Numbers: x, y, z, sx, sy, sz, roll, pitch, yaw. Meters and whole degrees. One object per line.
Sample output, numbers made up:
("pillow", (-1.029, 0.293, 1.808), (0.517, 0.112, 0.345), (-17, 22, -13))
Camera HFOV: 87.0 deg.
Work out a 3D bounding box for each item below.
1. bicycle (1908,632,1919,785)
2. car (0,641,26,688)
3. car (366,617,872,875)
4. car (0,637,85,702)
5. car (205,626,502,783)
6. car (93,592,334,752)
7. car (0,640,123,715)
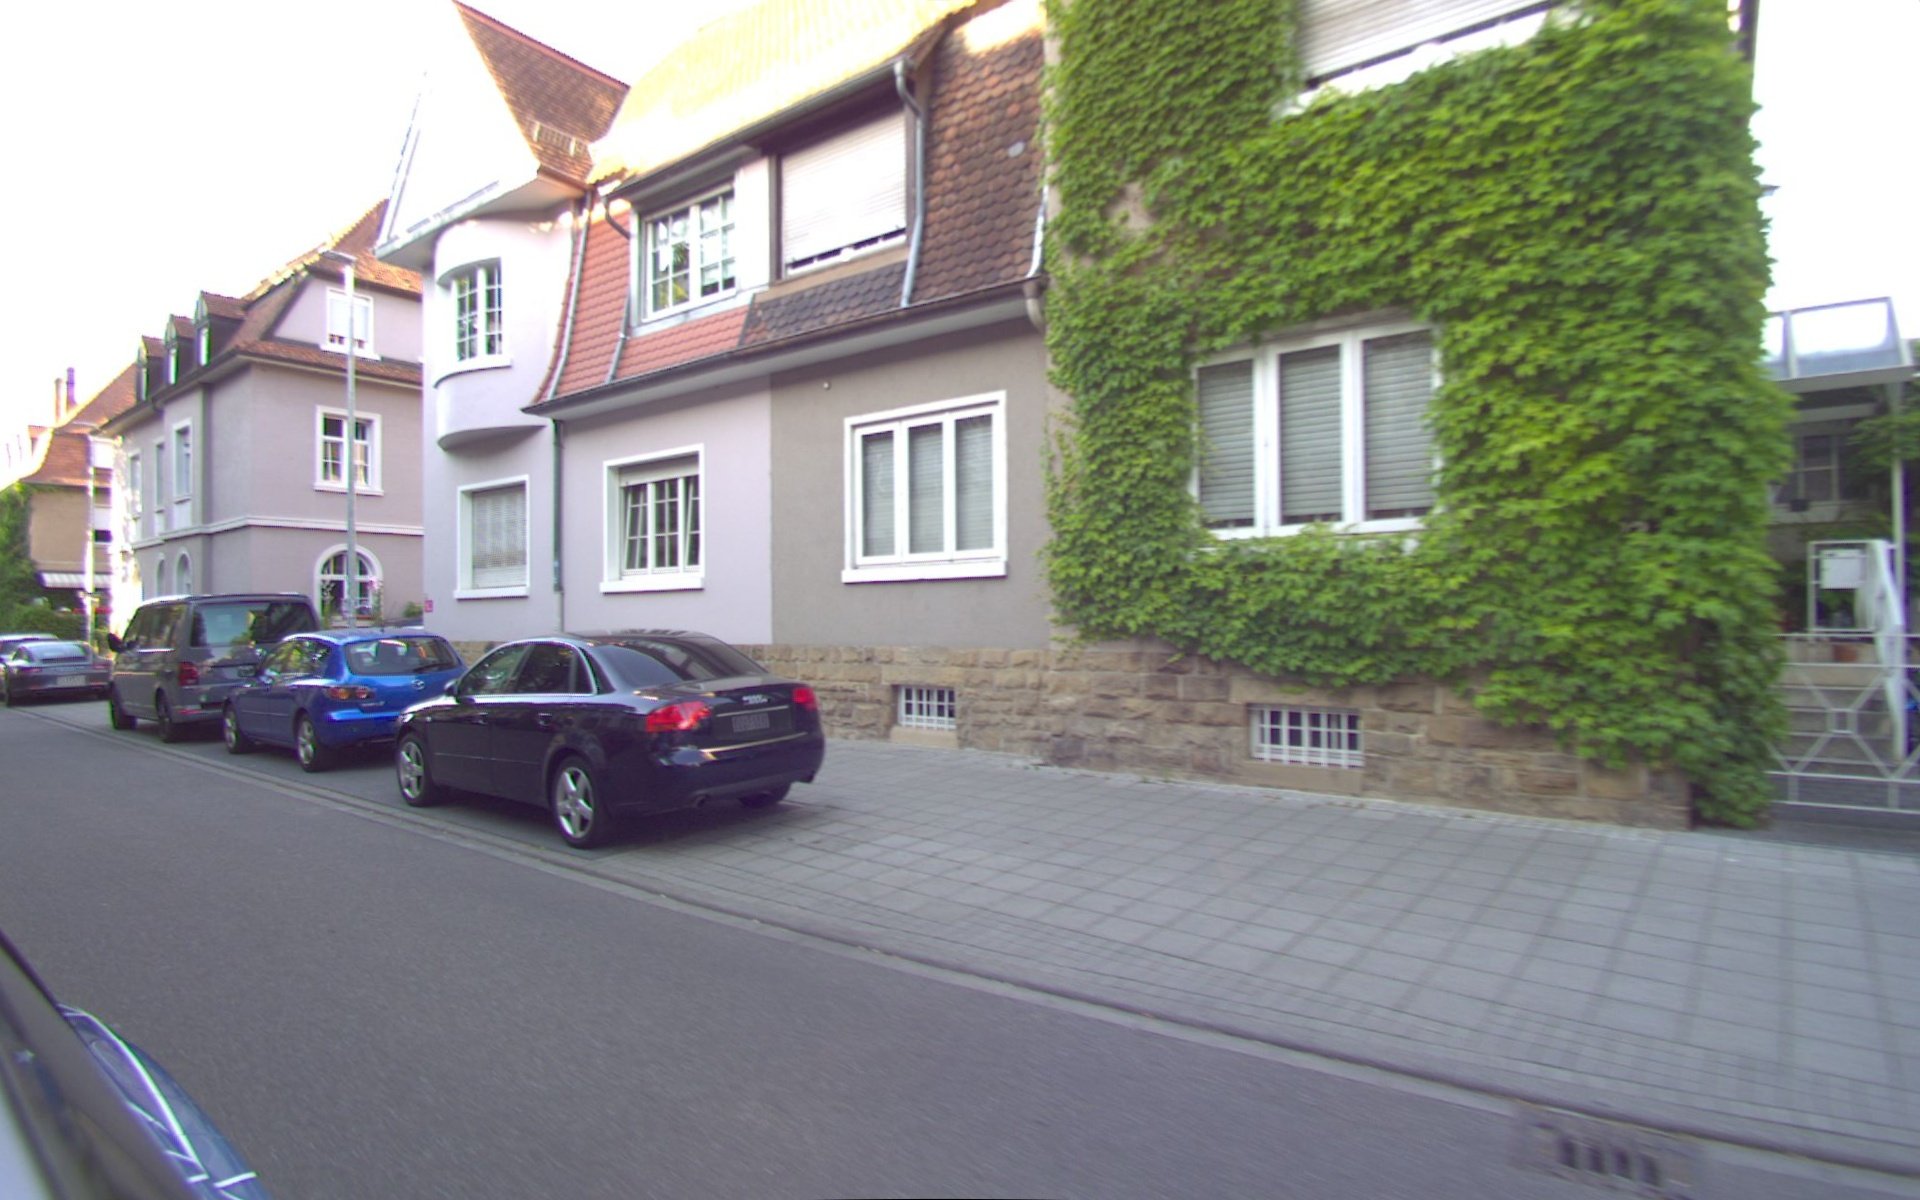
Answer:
("bicycle", (8.229, 0.849, 8.391), (0.476, 1.111, 2.172), (-3, -2, 44))
("car", (-30.166, 2.002, 31.187), (3.675, 1.372, 1.641), (-2, 0, 41))
("car", (-2.914, 0.935, 8.094), (4.425, 1.457, 1.783), (-2, 0, 40))
("car", (-23.939, 1.734, 25.803), (4.060, 1.478, 1.908), (-2, 0, 41))
("car", (-7.207, 1.091, 11.870), (4.059, 1.457, 1.745), (-2, 0, 40))
("car", (-11.142, 0.973, 14.984), (4.609, 1.990, 1.819), (-2, 0, 40))
("car", (-19.873, 1.621, 22.131), (4.062, 1.394, 1.907), (-2, 0, 43))
